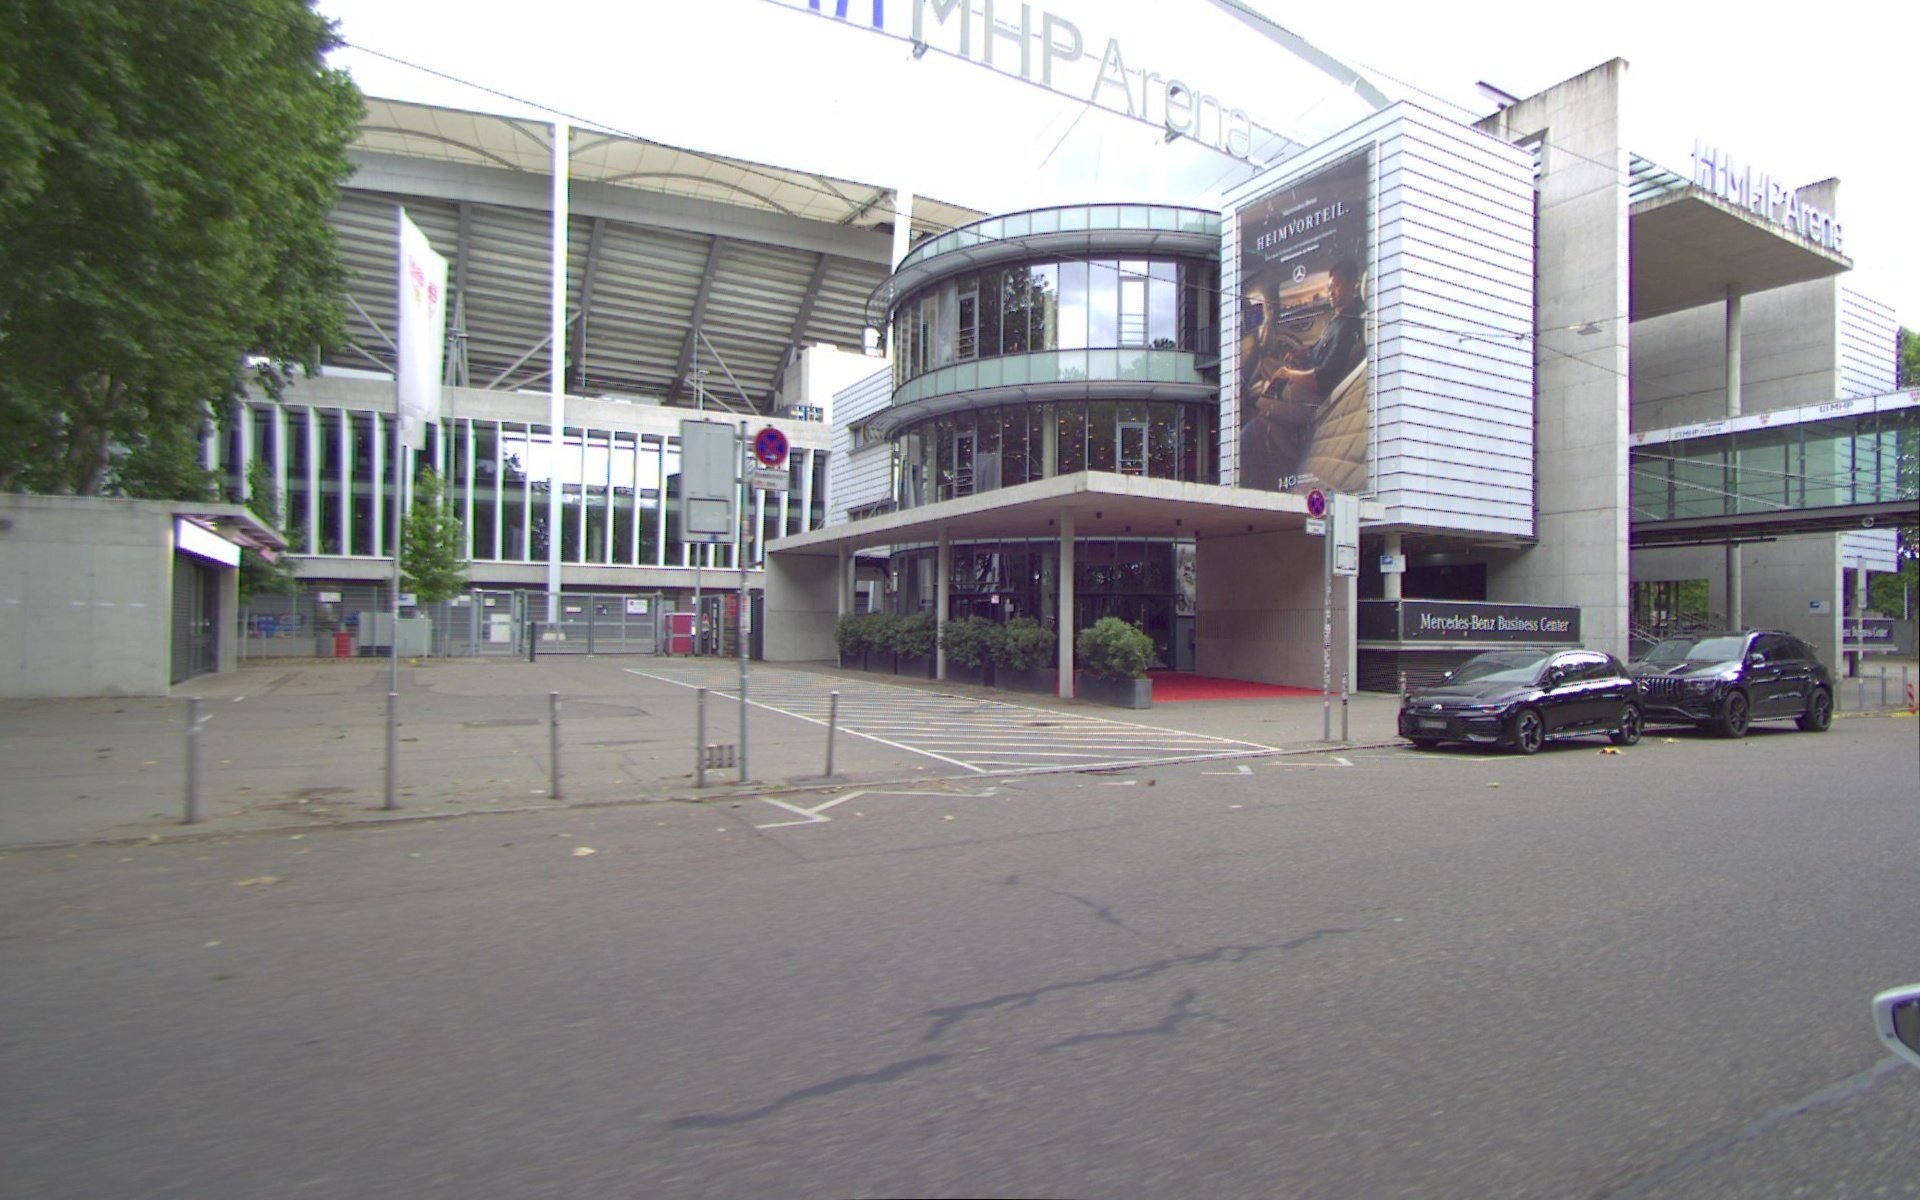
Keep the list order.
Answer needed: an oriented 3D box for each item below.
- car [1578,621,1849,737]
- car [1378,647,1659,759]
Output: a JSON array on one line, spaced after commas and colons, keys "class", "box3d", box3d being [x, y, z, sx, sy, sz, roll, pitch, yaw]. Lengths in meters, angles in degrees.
[{"class": "car", "box3d": [13.345, 1.340, 17.743, 4.849, 1.812, 2.026, 1, -4, -30]}, {"class": "car", "box3d": [8.405, 1.462, 15.048, 4.273, 1.438, 1.697, 1, -4, -30]}]
